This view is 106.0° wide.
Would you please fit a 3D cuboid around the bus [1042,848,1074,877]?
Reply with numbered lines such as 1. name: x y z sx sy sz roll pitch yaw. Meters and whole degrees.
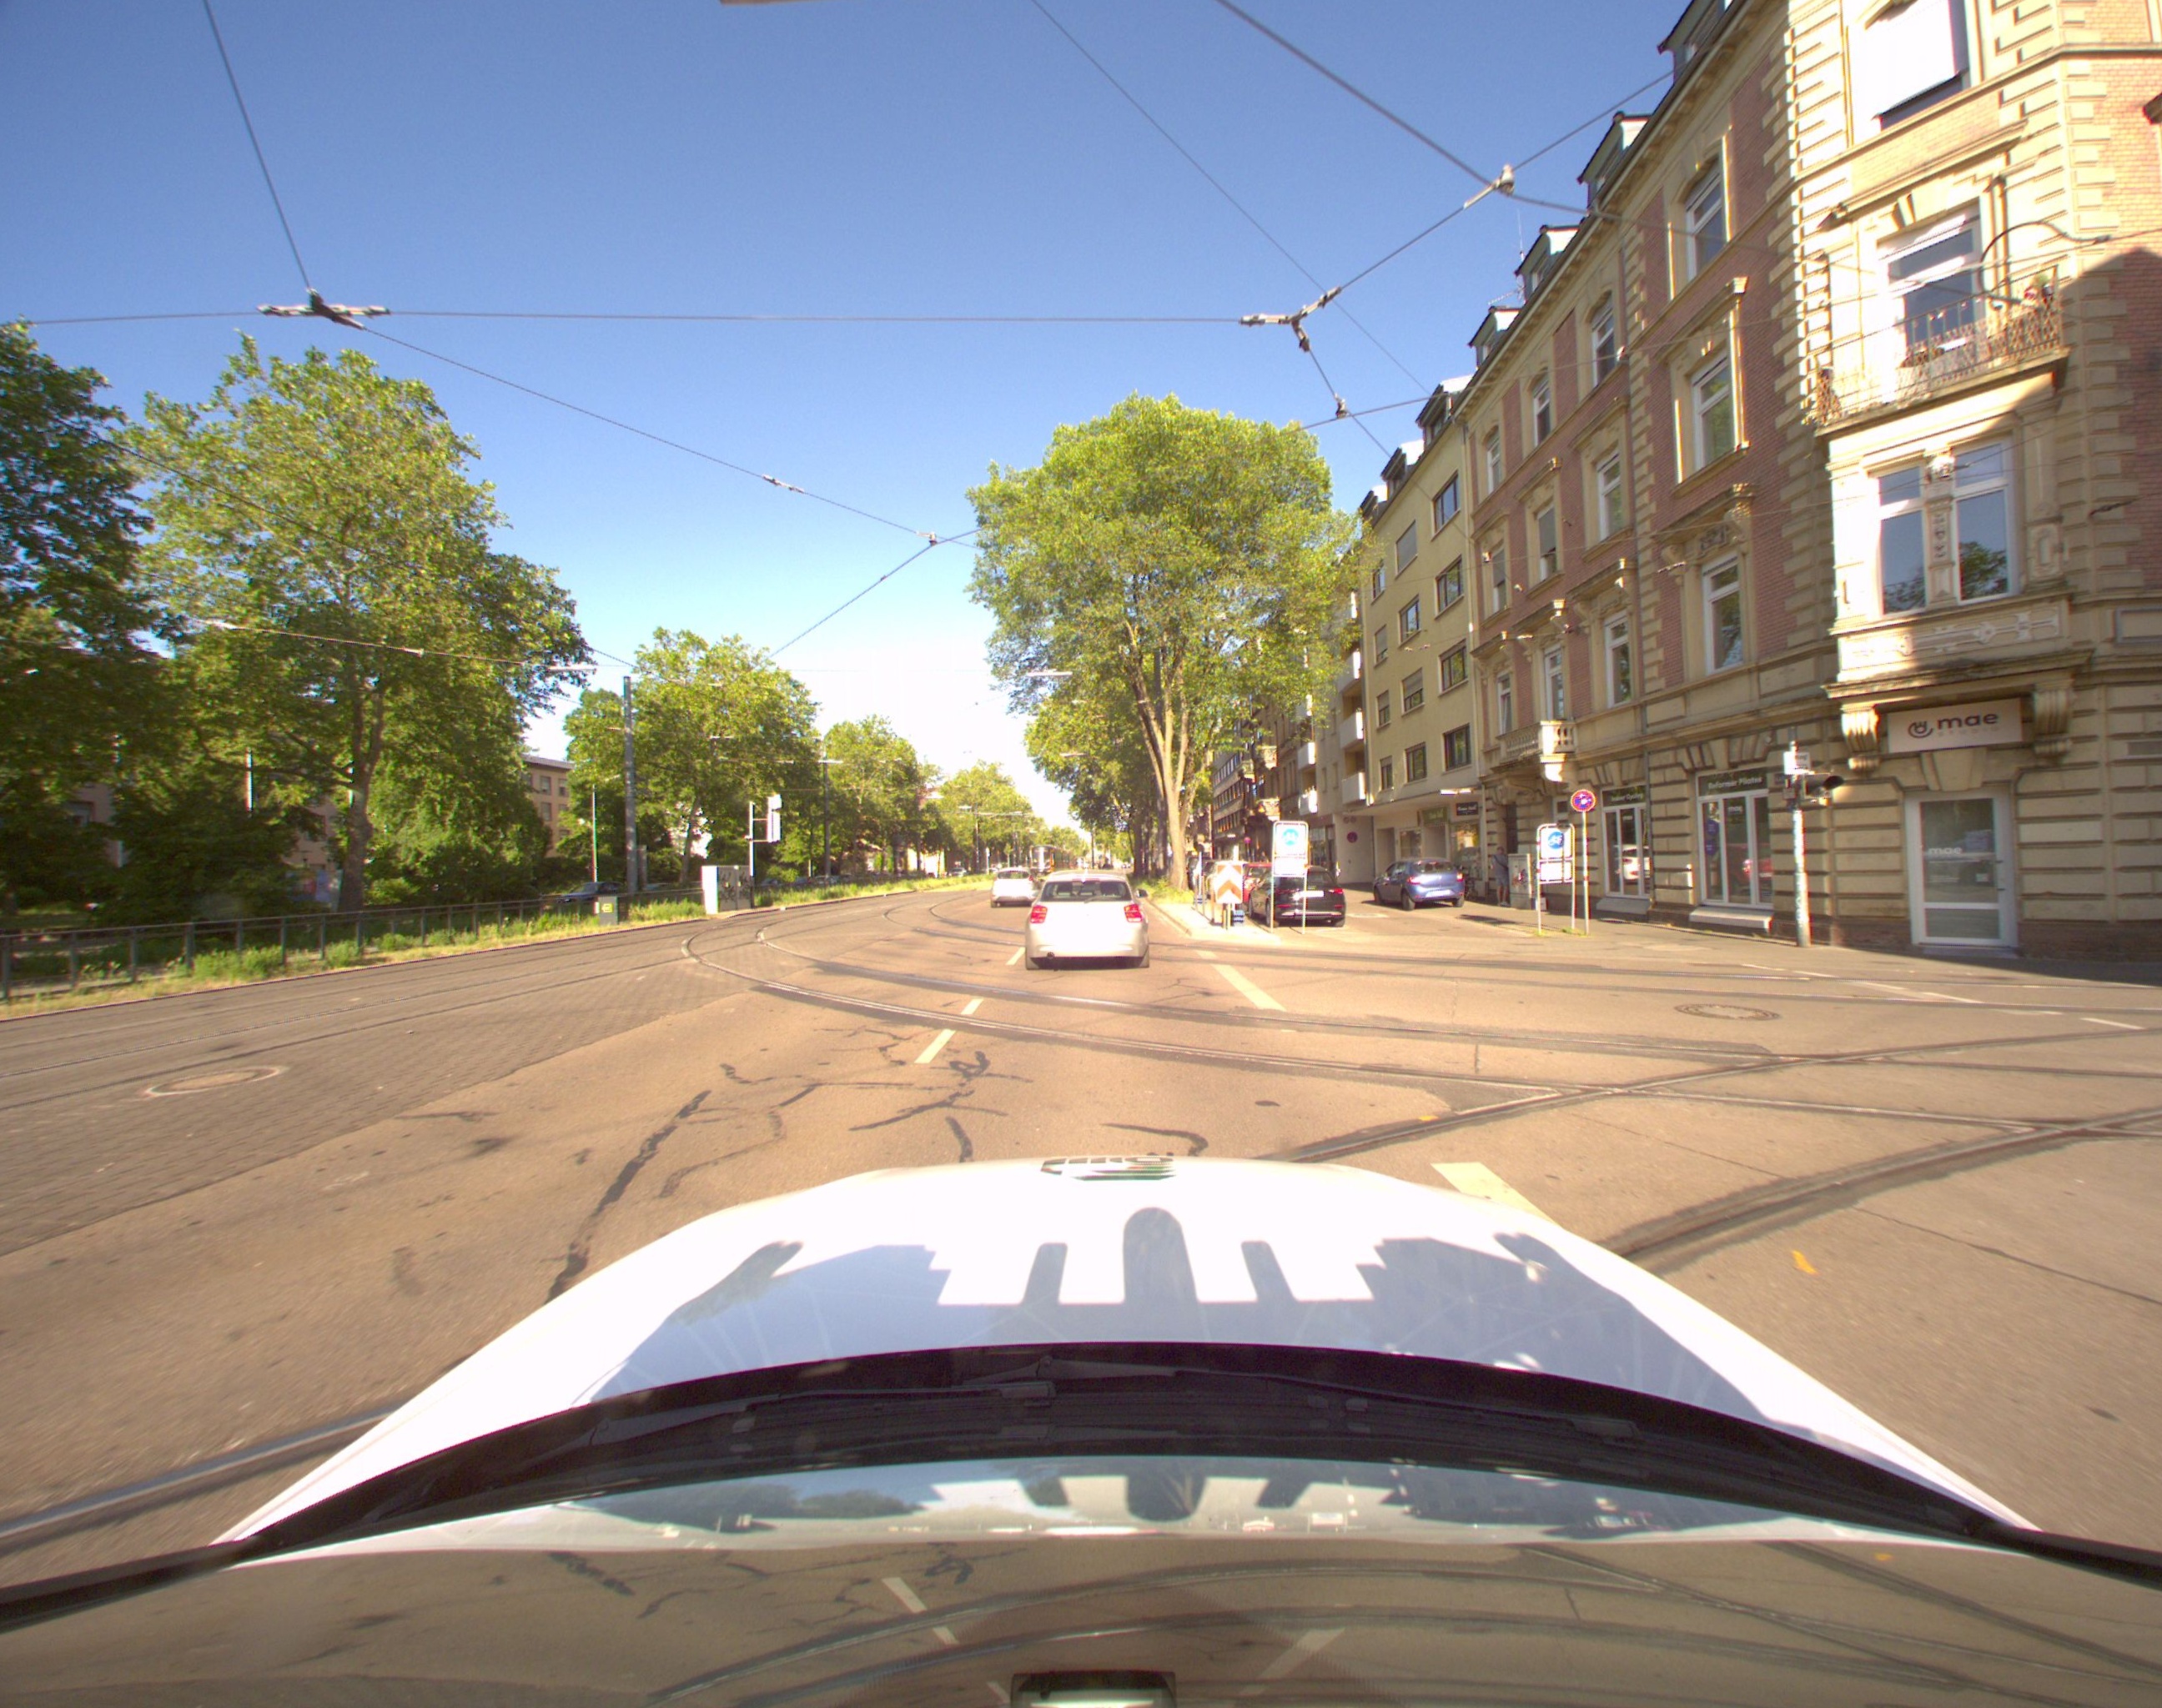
1. bus: -2.832 1.048 103.264 2.857 3.444 12.225 -1 -1 3

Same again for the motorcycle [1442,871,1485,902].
1. motorcycle: 12.125 1.012 25.869 0.484 0.895 1.874 -4 -1 3

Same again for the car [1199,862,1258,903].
1. car: 5.556 1.045 31.054 1.620 1.477 3.698 1 -1 1

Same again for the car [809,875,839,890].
1. car: -24.271 2.689 76.947 1.561 1.312 3.506 1 -1 3

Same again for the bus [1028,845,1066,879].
1. bus: -3.643 0.917 90.603 2.857 3.444 13.228 -1 -1 3

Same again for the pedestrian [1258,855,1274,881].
1. pedestrian: 13.538 1.004 59.711 0.995 1.840 0.716 -2 -1 4

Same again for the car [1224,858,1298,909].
1. car: 5.499 0.866 25.268 1.582 1.434 3.908 1 -1 3

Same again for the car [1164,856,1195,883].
1. car: 6.820 1.056 56.616 1.857 1.816 4.804 1 -1 4

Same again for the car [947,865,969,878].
1. car: -15.437 2.171 102.365 1.878 1.619 4.600 1 -1 2

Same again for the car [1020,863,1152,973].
1. car: 0.151 0.875 12.855 1.755 1.432 4.002 1 -1 2

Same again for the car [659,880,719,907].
1. car: -26.030 2.624 54.275 1.987 1.622 4.000 1 -1 0

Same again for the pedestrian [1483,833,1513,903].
1. pedestrian: 12.273 0.396 23.965 0.509 2.014 0.853 1 -1 6

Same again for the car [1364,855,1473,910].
1. car: 10.493 0.840 25.642 1.687 1.480 4.000 -4 -1 0

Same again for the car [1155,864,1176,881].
1. car: 7.794 1.687 75.397 1.798 1.490 4.924 1 -1 4

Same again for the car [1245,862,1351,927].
1. car: 5.241 0.917 20.155 1.690 1.421 4.172 1 -1 2

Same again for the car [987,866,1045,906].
1. car: -2.370 1.151 30.432 1.640 1.363 3.763 1 -1 3

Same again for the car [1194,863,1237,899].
1. car: 5.792 1.124 35.457 1.554 1.485 3.791 1 -1 5

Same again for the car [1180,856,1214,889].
1. car: 6.176 0.979 43.649 1.618 1.668 4.147 1 -1 5

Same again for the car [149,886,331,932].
1. car: -25.926 1.653 25.314 1.613 1.221 3.766 -1 -1 3

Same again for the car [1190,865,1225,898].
1. car: 6.120 1.300 39.601 1.504 1.480 3.497 1 -1 6
